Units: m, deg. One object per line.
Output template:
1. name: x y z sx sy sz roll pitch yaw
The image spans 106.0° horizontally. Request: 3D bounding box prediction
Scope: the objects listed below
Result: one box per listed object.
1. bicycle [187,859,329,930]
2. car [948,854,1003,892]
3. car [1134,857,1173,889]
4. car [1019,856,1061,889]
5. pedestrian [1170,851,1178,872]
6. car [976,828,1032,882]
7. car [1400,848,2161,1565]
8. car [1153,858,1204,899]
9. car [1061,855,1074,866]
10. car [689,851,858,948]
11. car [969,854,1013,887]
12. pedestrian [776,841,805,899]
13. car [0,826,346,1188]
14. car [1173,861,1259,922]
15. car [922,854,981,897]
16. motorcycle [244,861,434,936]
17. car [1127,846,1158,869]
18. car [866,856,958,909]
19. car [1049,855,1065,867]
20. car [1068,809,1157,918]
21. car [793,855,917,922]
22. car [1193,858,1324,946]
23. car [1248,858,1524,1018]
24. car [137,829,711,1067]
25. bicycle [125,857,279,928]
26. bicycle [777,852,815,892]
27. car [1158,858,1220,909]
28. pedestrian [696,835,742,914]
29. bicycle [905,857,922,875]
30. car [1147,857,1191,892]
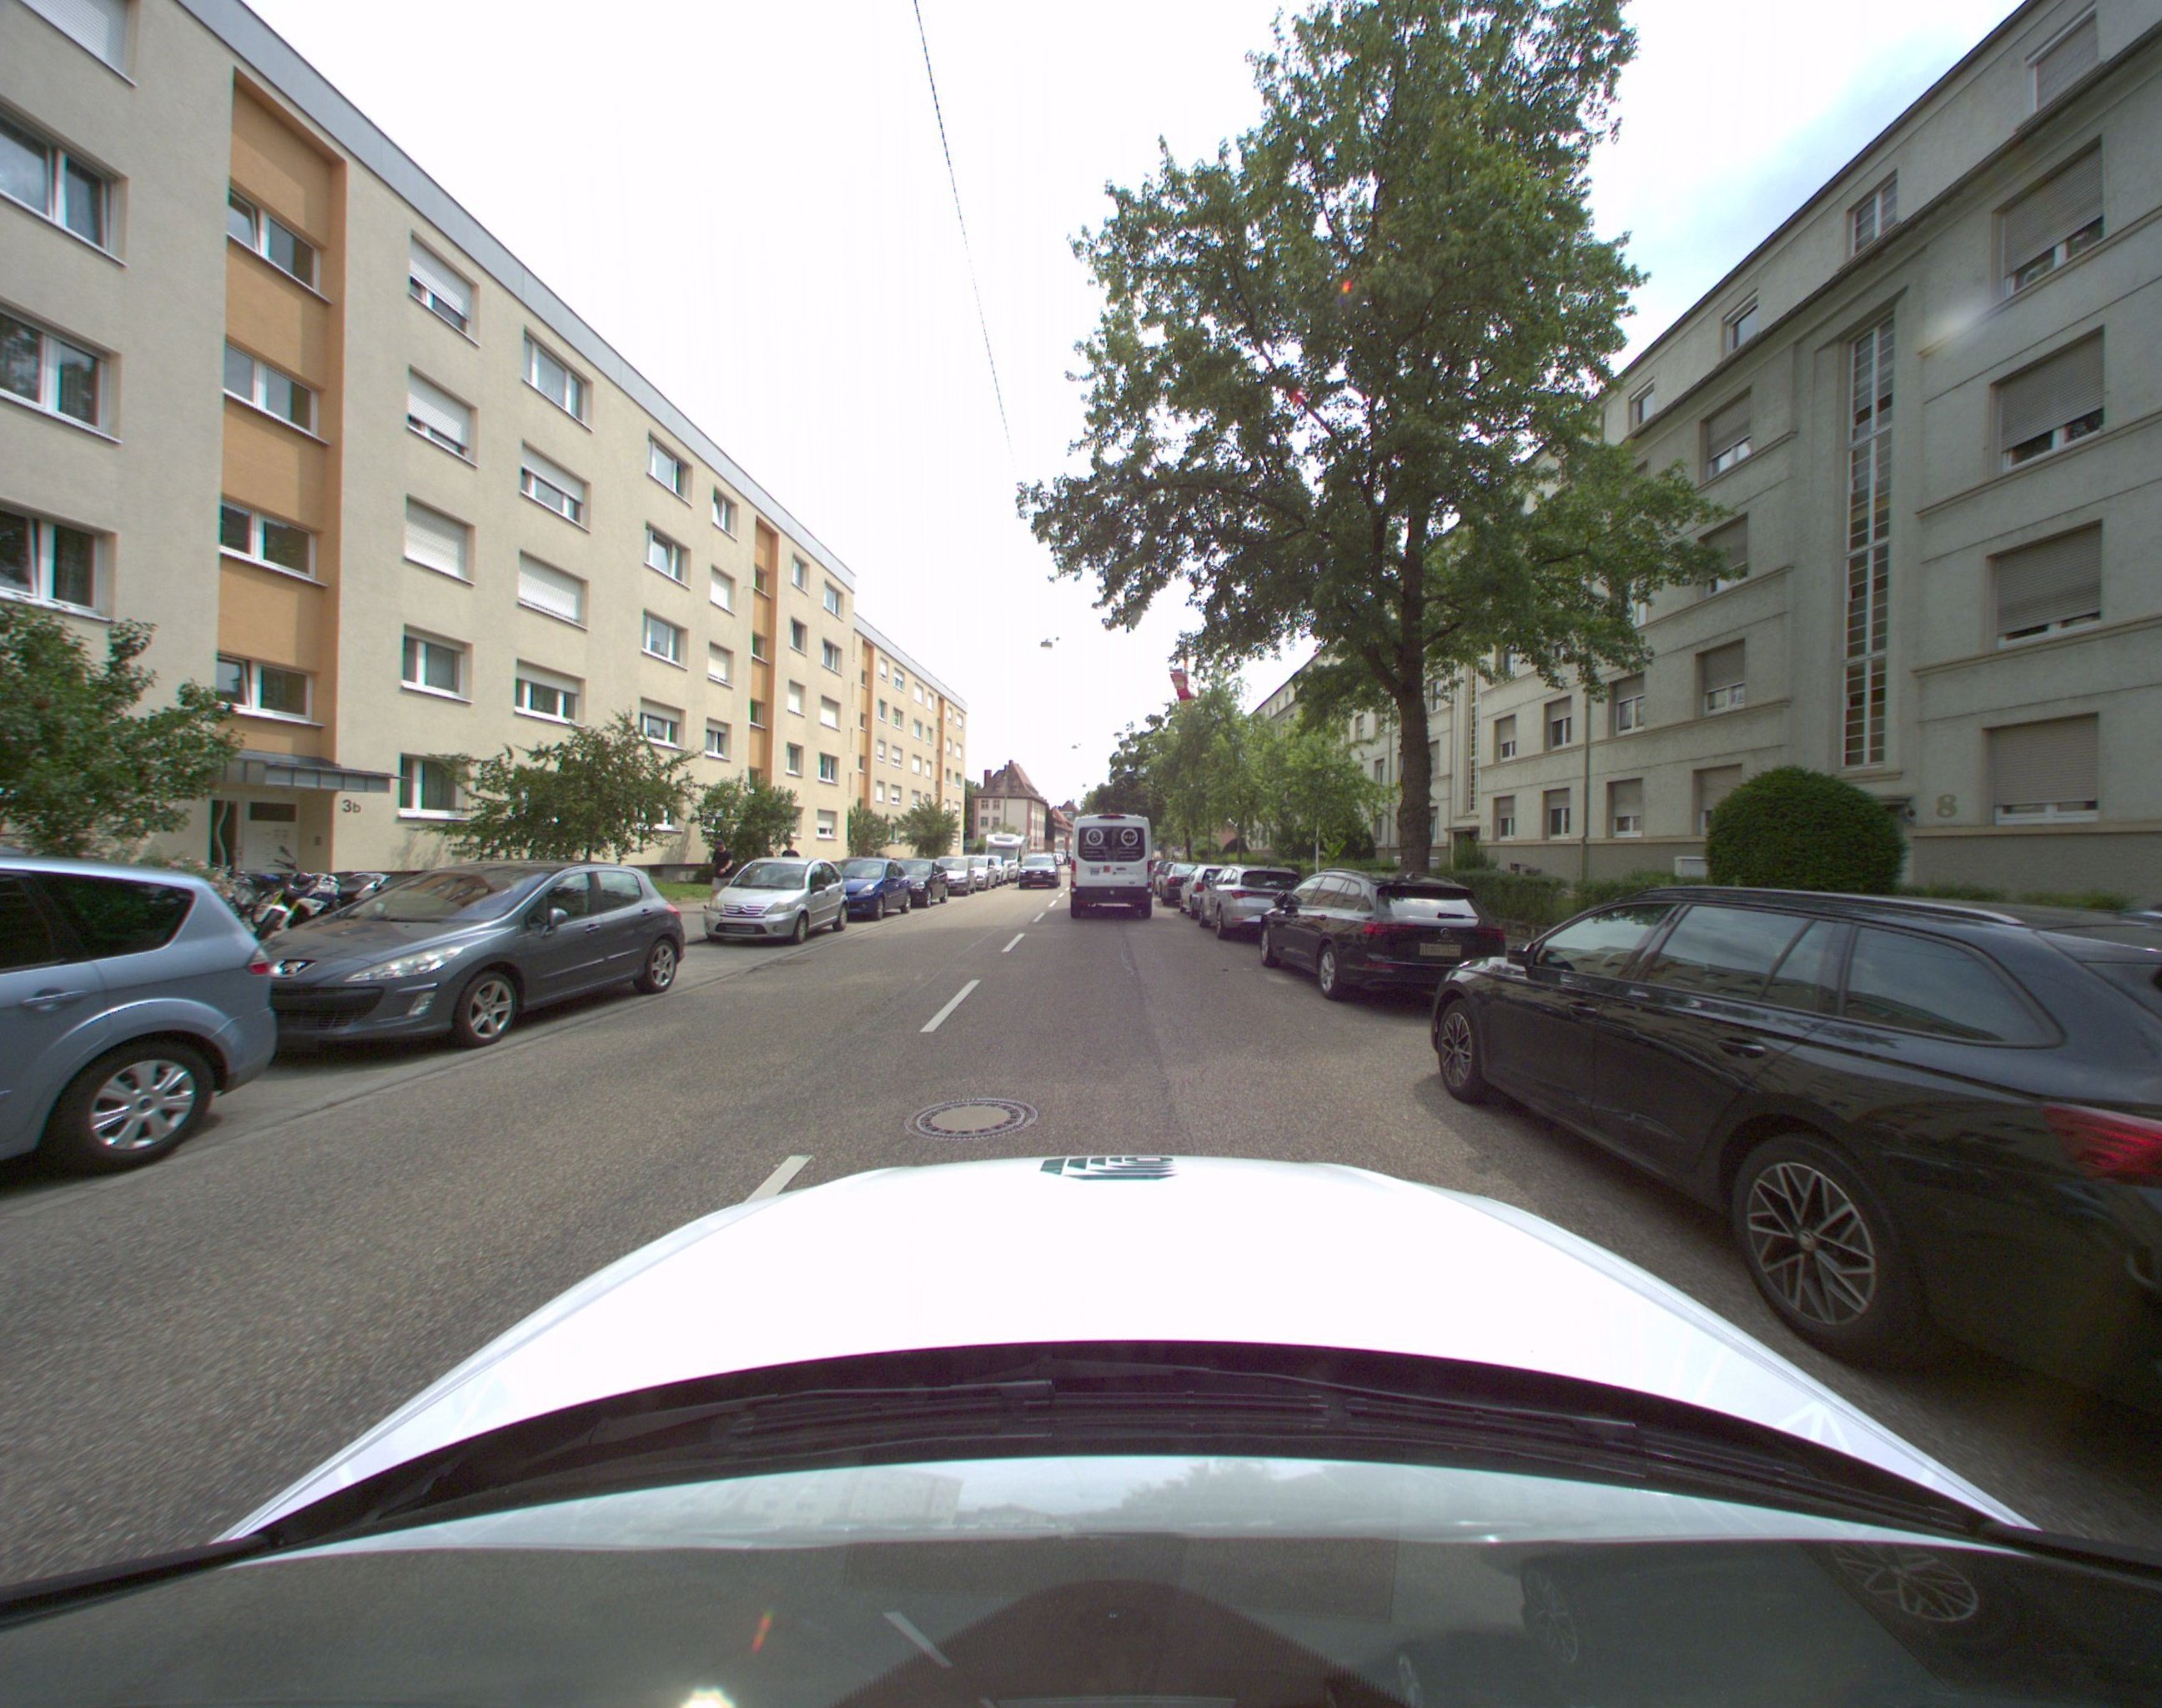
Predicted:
1. bicycle: -12.410 0.576 12.348 0.438 0.986 1.616 2 0 2
2. car: -4.853 0.845 38.036 1.748 1.579 4.570 2 0 2
3. car: 3.923 1.009 44.479 1.654 1.583 4.284 3 0 -1
4. car: -2.000 0.878 40.606 1.812 1.586 4.436 0 0 1
5. pedestrian: 7.977 0.658 69.949 0.527 1.828 0.517 0 -1 -42
6. car: -4.571 0.064 49.983 2.502 3.024 7.397 2 0 1
7. car: 3.173 0.760 3.814 1.690 1.469 4.562 2 0 2
8. car: 3.891 0.955 32.963 1.653 1.469 3.726 1 1 1
9. car: -2.020 0.948 123.567 1.779 1.482 3.863 2 0 2
10. car: -5.693 0.772 15.612 1.664 1.561 3.851 2 0 0
11. car: -4.726 0.833 43.187 1.683 1.579 4.594 2 0 1
12. pedestrian: -9.169 0.502 25.693 0.618 1.813 0.803 0 0 -1
13. car: -5.879 0.664 2.859 1.934 1.613 4.865 2 0 3
14. car: 3.574 0.955 22.141 1.664 1.400 3.851 3 0 1
15. car: -5.139 0.823 32.783 1.717 1.539 4.004 1 1 0
16. motorcycle: -11.062 0.620 12.288 0.659 0.986 2.318 2 0 1
17. car: 4.866 0.301 65.032 1.921 1.661 5.323 3 0 -1
18. car: -5.290 0.848 25.994 1.810 1.483 4.119 2 0 3
19. car: -3.163 0.944 107.820 1.779 1.482 3.863 2 0 2
20. car: 0.725 0.239 21.324 2.064 2.540 4.633 0 -1 0
21. car: -5.601 0.804 20.708 1.810 1.483 3.888 2 0 3
22. car: 3.473 0.859 16.816 1.691 1.469 4.718 2 0 1
23. car: 3.476 0.836 10.346 1.692 1.469 4.753 2 0 0
24. car: -5.666 0.674 7.958 1.935 1.613 4.304 2 0 2
25. bicycle: -13.224 0.545 12.326 0.438 0.986 1.674 2 0 2
26. bicycle: -10.614 0.642 30.403 0.460 1.393 2.133 1 1 5
27. car: 3.546 0.922 27.419 1.772 1.469 4.620 2 0 4
28. pedestrian: -8.567 0.473 19.311 0.618 1.813 0.899 2 -1 -1
29. bicycle: -10.210 0.724 49.685 0.451 0.980 2.447 1 1 2
30. car: 4.039 0.911 37.930 1.653 1.469 3.890 0 1 1
